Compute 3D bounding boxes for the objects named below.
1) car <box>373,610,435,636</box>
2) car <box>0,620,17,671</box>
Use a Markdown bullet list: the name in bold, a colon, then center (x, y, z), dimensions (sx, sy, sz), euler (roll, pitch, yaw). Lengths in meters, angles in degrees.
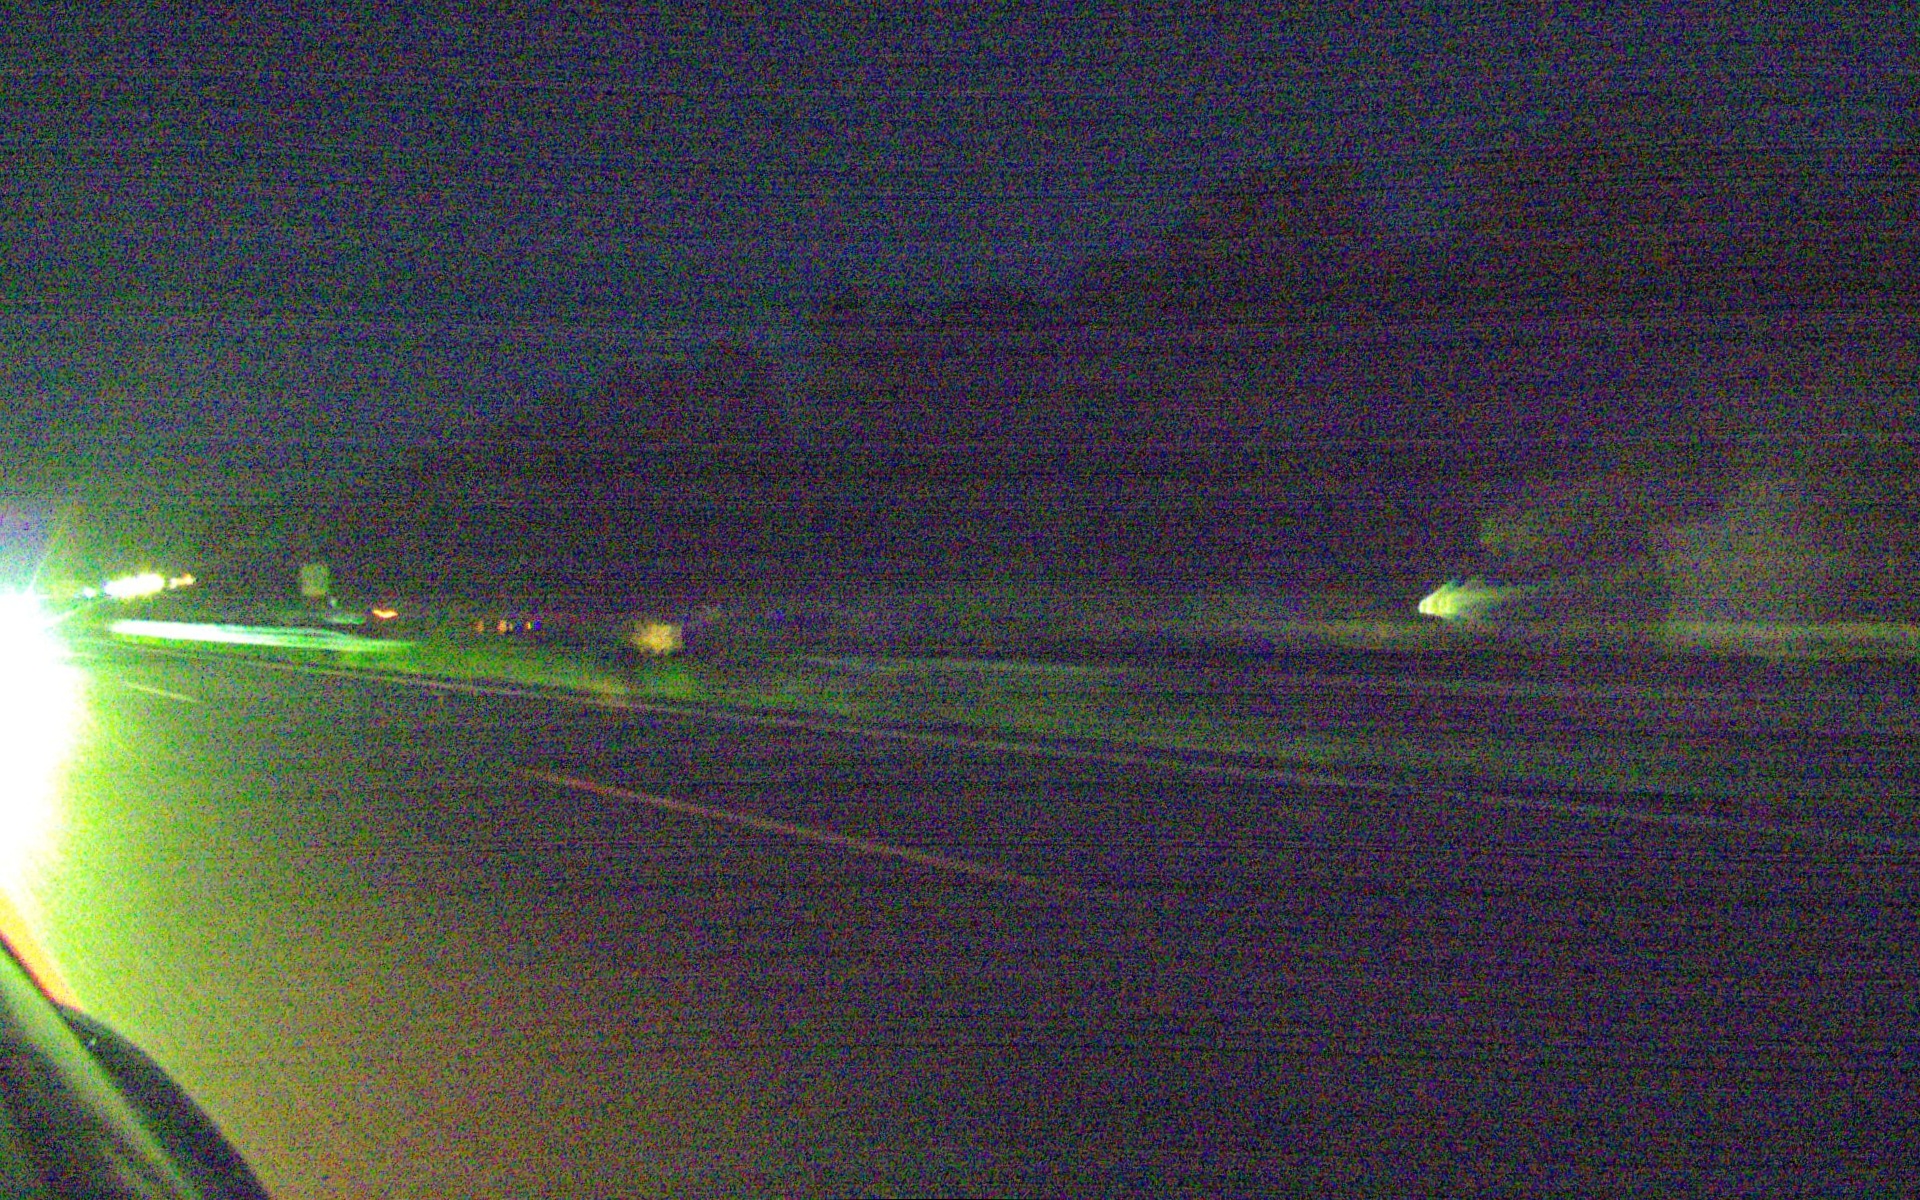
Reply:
- **car**: center (-34.270, 1.407, 62.323), dimensions (4.312, 1.519, 1.973), euler (-1, 0, 40)
- **car**: center (-29.412, 1.333, 29.816), dimensions (3.995, 1.422, 1.811), euler (0, 1, 39)
